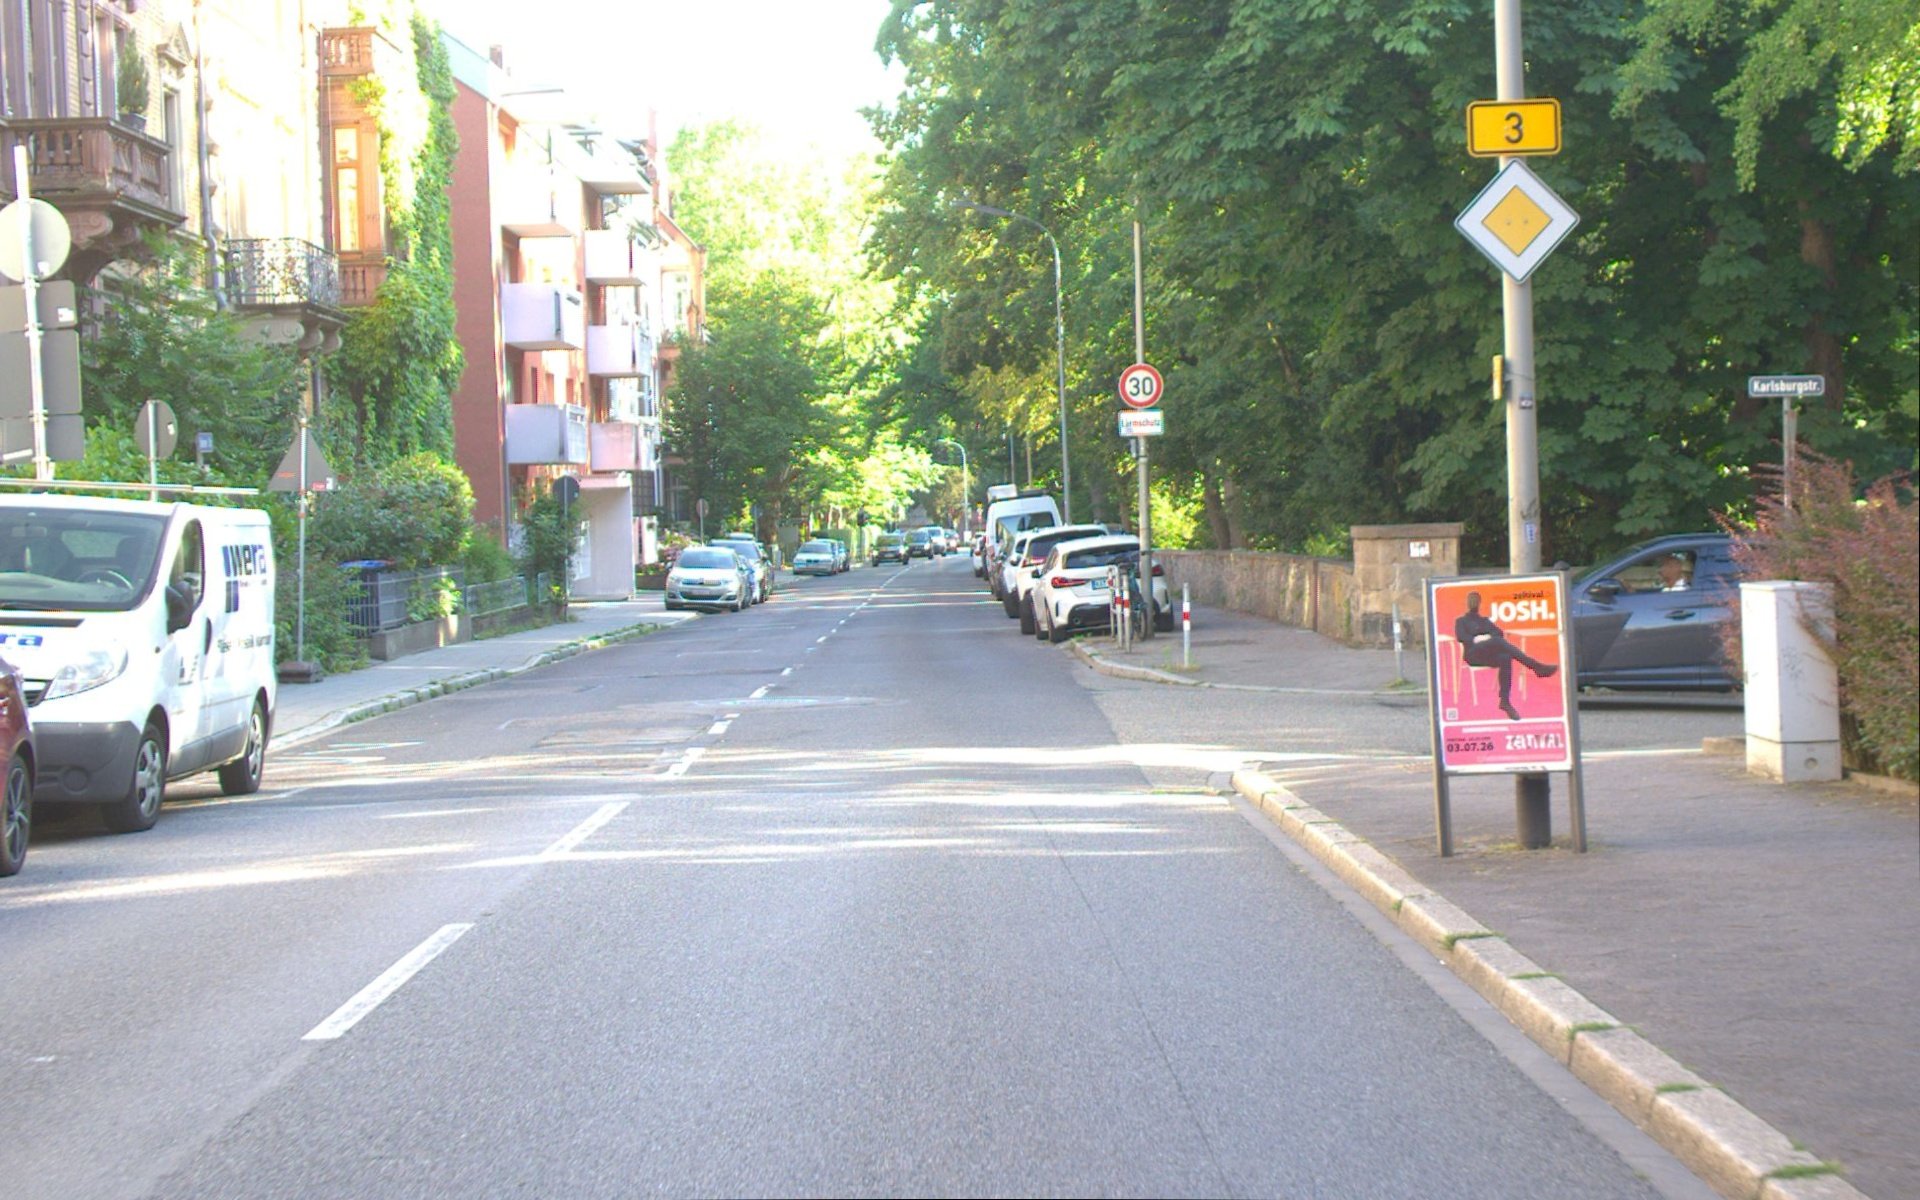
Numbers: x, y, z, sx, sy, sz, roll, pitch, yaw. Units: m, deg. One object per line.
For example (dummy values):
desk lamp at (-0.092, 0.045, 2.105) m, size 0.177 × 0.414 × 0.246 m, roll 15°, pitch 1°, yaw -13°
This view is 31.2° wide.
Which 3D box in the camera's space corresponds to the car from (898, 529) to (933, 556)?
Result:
car at (-2.653, -3.458, 206.765) m, size 1.993 × 1.486 × 4.471 m, roll -2°, pitch 2°, yaw 0°

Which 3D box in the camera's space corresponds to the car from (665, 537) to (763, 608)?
car at (-5.885, -0.679, 82.697) m, size 1.993 × 1.486 × 4.471 m, roll -2°, pitch 2°, yaw 0°

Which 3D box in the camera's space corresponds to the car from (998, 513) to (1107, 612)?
car at (1.774, -0.752, 66.402) m, size 1.993 × 1.731 × 4.000 m, roll -2°, pitch 2°, yaw 1°

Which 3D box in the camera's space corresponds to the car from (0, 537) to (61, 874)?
car at (-5.450, 0.534, 15.698) m, size 1.702 × 1.614 × 4.118 m, roll 0°, pitch 1°, yaw -1°

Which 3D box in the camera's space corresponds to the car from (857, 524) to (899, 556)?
car at (-4.195, -3.073, 176.521) m, size 1.993 × 1.486 × 4.471 m, roll -2°, pitch 2°, yaw 0°

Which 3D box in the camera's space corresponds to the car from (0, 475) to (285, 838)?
car at (-5.494, 0.257, 21.318) m, size 1.793 × 2.003 × 4.698 m, roll 0°, pitch 1°, yaw -1°

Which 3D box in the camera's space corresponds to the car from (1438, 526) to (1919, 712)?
car at (6.754, 0.146, 32.387) m, size 4.438 × 1.647 × 2.000 m, roll 0°, pitch 2°, yaw 8°

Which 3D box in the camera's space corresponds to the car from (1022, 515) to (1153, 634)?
car at (2.037, -0.448, 55.848) m, size 1.993 × 1.731 × 4.000 m, roll -2°, pitch 2°, yaw 1°

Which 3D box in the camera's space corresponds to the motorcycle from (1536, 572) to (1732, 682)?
motorcycle at (7.039, 0.275, 35.963) m, size 1.906 × 1.108 × 0.790 m, roll 0°, pitch 2°, yaw 2°

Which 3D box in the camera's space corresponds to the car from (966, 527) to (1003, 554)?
car at (1.529, -3.744, 215.776) m, size 1.993 × 1.486 × 4.471 m, roll -2°, pitch 2°, yaw -3°

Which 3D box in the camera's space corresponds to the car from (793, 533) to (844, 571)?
car at (-6.124, -2.105, 149.317) m, size 1.993 × 1.486 × 4.471 m, roll -2°, pitch 2°, yaw 0°

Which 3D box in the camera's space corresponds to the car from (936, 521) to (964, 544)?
car at (-0.746, -4.886, 248.668) m, size 1.993 × 1.486 × 4.471 m, roll -2°, pitch 2°, yaw 0°

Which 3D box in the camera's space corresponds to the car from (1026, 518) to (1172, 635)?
car at (1.995, -0.382, 50.358) m, size 1.993 × 1.512 × 4.000 m, roll -2°, pitch 2°, yaw 1°

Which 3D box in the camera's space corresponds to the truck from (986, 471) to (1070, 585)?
truck at (1.786, -1.947, 91.520) m, size 1.993 × 2.886 × 4.471 m, roll -2°, pitch 2°, yaw -1°
